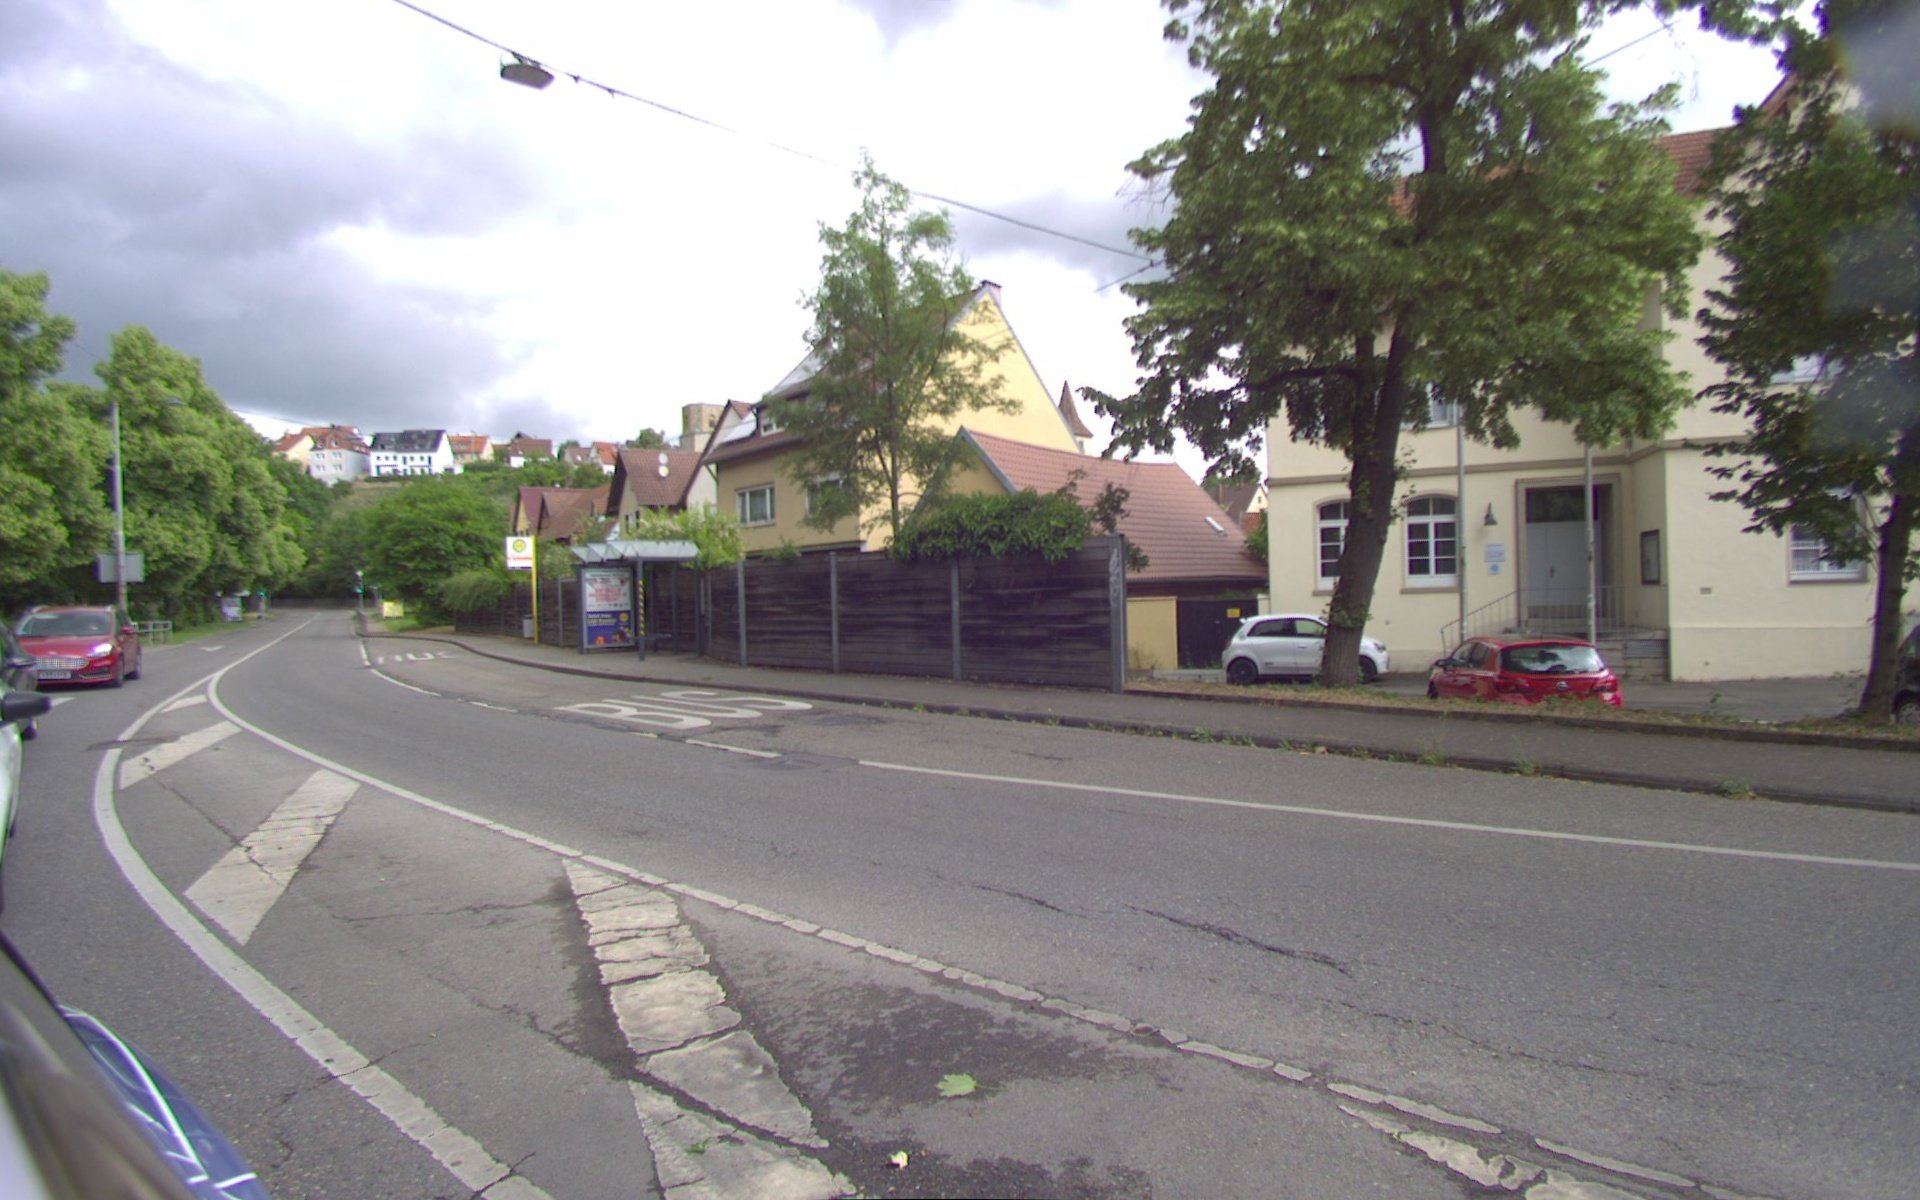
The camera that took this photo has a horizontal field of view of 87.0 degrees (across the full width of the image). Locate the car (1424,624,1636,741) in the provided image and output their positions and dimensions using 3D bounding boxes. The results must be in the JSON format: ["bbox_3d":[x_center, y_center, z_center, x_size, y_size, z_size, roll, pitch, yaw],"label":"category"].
[{"bbox_3d":[8.120,1.102,14.772,1.590,1.389,3.544,-1,0,10],"label":"car"}]

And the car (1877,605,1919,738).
[{"bbox_3d":[12.694,0.888,11.590,1.586,1.644,3.093,-1,0,2],"label":"car"}]

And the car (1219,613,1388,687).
[{"bbox_3d":[7.740,1.106,22.928,3.487,1.528,1.581,-1,0,20],"label":"car"}]

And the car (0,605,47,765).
[{"bbox_3d":[-11.115,0.863,10.885,1.698,1.559,3.789,-1,0,-39],"label":"car"}]

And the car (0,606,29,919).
[{"bbox_3d":[-6.037,0.813,5.279,1.594,1.525,3.610,-1,0,-41],"label":"car"}]

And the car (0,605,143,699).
[{"bbox_3d":[-17.963,0.966,20.506,1.799,1.685,4.069,-1,0,-34],"label":"car"}]
